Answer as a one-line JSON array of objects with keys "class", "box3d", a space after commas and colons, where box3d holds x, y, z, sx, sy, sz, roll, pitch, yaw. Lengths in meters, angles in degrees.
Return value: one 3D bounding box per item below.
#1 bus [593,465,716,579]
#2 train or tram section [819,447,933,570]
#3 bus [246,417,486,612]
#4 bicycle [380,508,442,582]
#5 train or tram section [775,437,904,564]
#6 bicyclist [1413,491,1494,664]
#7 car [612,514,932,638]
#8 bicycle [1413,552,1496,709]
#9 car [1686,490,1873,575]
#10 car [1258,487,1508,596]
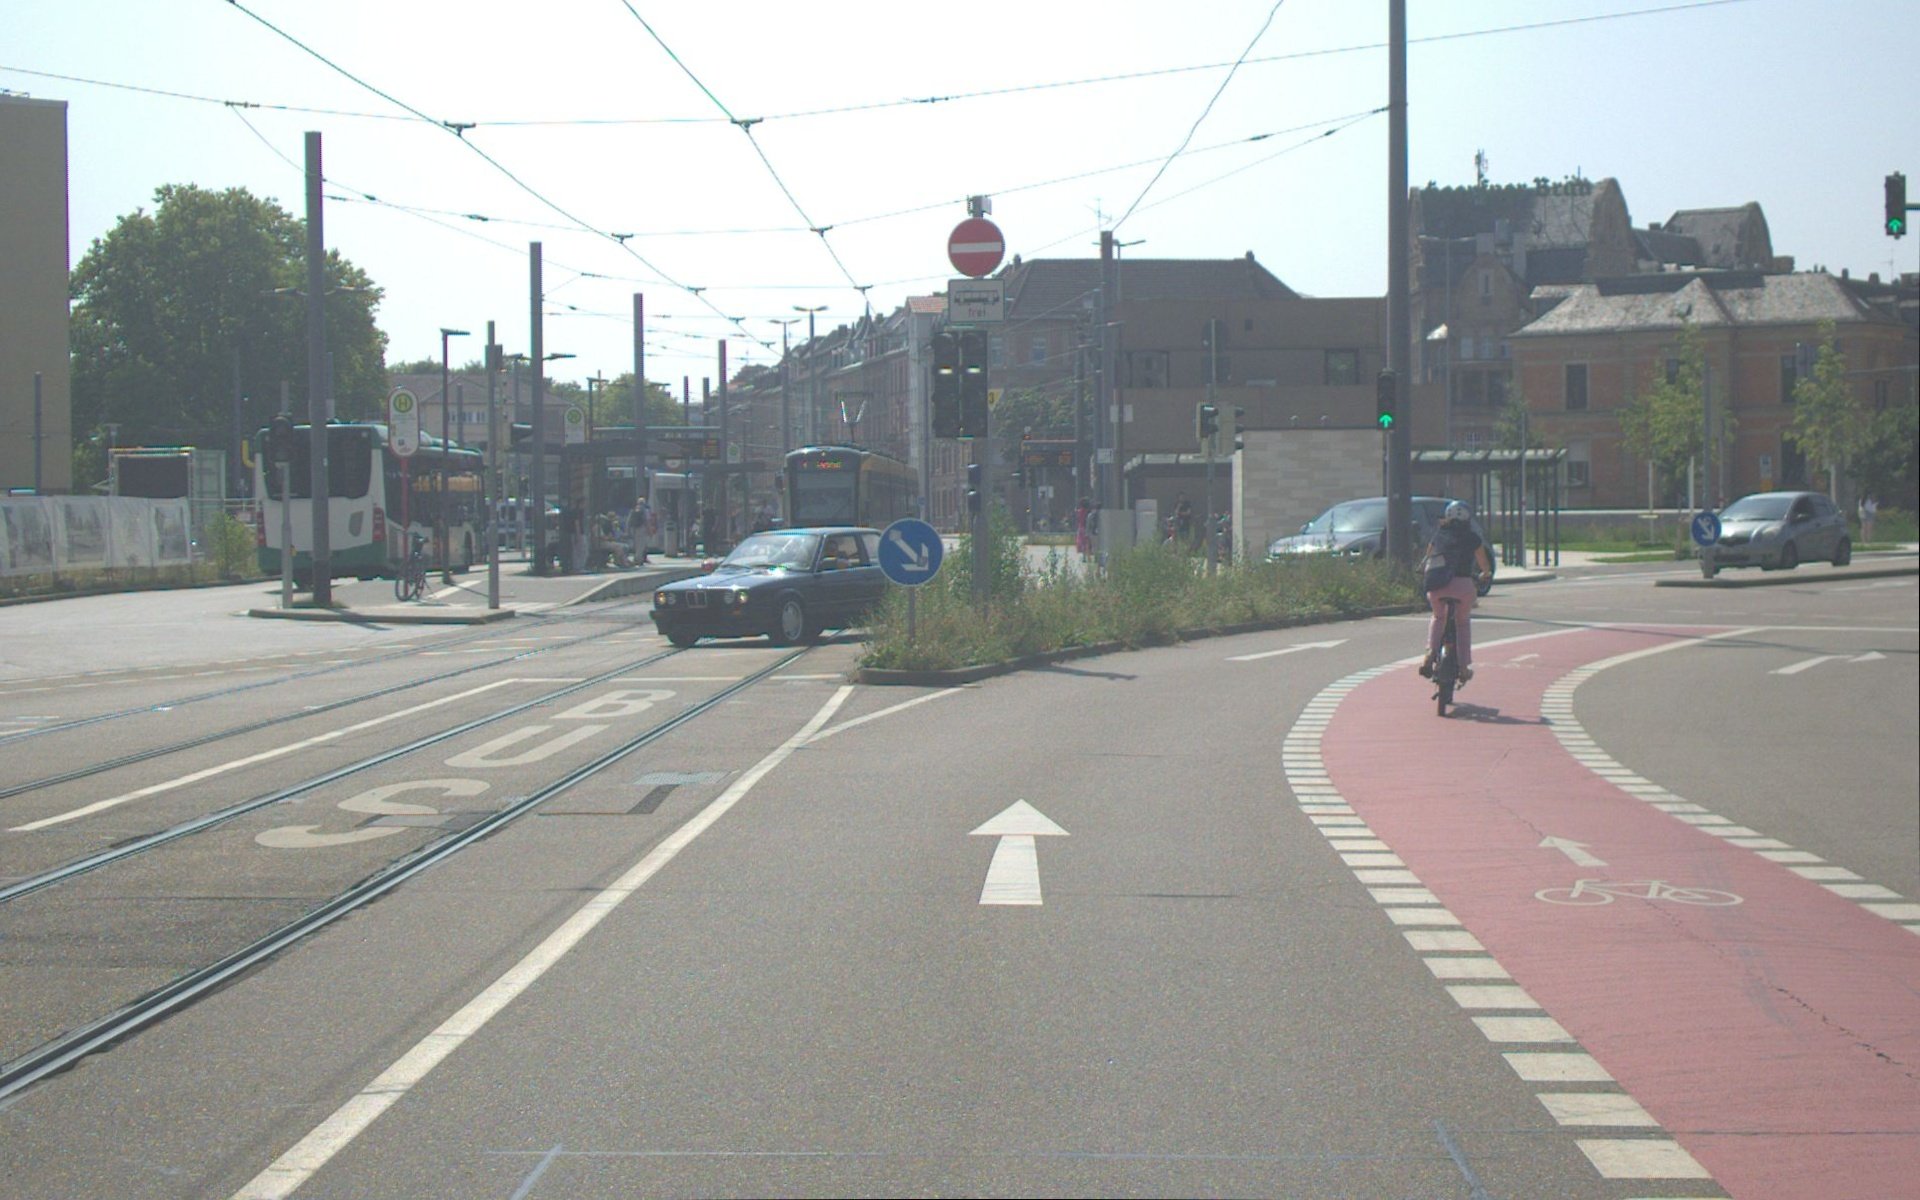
[{"class": "bus", "box3d": [-10.328, -2.646, 117.188, 2.710, 3.714, 10.418, 0, 1, 3]}, {"class": "train or tram section", "box3d": [-2.857, -3.210, 123.043, 2.886, 4.054, 19.141, 0, 1, 2]}, {"class": "bus", "box3d": [-12.225, -1.758, 71.800, 2.958, 3.762, 10.597, 0, 1, 1]}, {"class": "bicycle", "box3d": [-9.317, -0.941, 58.438, 0.607, 1.218, 1.705, -1, 1, 6]}, {"class": "train or tram section", "box3d": [-3.492, -2.934, 104.562, 2.856, 3.536, 17.742, 0, 1, 1]}, {"class": "bicyclist", "box3d": [3.854, -0.178, 26.816, 0.603, 1.330, 0.659, 0, 1, 9]}, {"class": "car", "box3d": [-2.149, -0.314, 40.695, 1.690, 1.373, 4.611, 0, 1, 27]}, {"class": "bicycle", "box3d": [3.847, 0.221, 26.790, 0.604, 1.159, 1.810, -1, 1, 8]}, {"class": "car", "box3d": [15.305, -1.268, 64.087, 1.654, 1.525, 4.316, 0, 1, 39]}, {"class": "car", "box3d": [6.594, -0.924, 53.211, 1.775, 1.605, 4.664, 0, 2, 36]}]
